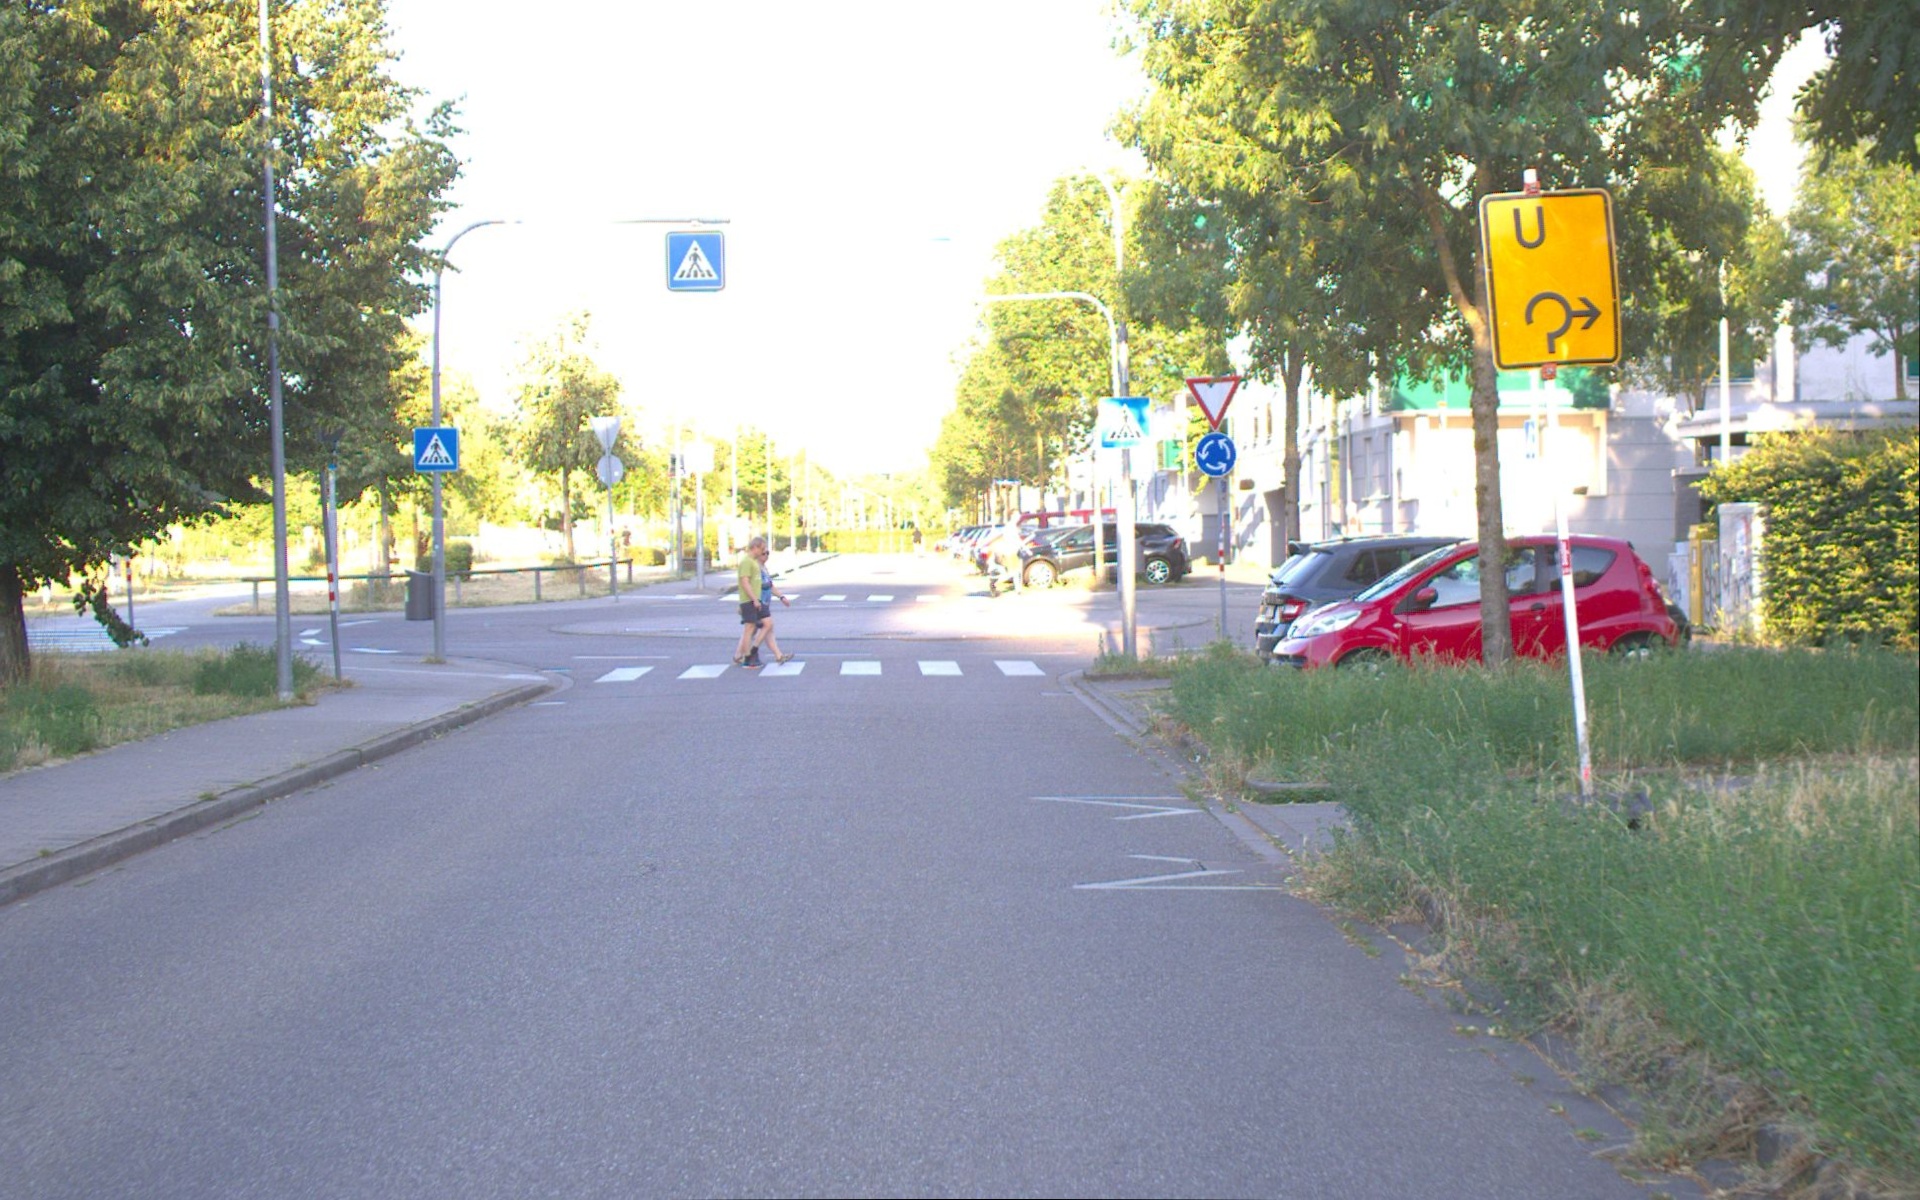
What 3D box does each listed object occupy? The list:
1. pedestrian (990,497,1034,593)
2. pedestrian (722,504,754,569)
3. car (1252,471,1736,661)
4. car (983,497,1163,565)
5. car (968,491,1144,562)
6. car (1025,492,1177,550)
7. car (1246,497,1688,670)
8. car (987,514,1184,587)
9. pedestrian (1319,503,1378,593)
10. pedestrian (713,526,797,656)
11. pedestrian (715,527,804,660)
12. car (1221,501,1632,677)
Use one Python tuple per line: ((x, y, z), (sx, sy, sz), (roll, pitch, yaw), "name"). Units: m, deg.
((1.100, -1.173, 72.687), (0.846, 2.007, 0.943), (-1, 1, 5), "pedestrian")
((-6.871, -1.971, 106.428), (0.866, 2.007, 0.790), (-1, 1, -11), "pedestrian")
((4.504, -0.305, 29.315), (3.802, 1.503, 1.679), (-1, 1, -3), "car")
((2.762, -1.706, 84.939), (4.355, 1.590, 2.000), (-1, 1, 0), "car")
((2.856, -2.207, 102.954), (5.002, 2.038, 2.251), (-1, 1, -5), "car")
((4.085, -2.302, 99.917), (4.263, 1.590, 2.000), (-1, 1, -1), "car")
((4.681, -0.176, 32.048), (3.802, 1.503, 1.679), (-1, 1, -3), "car")
((2.879, -1.160, 79.799), (4.484, 1.590, 2.000), (-1, 1, 0), "car")
((7.746, -1.034, 68.534), (1.003, 1.782, 0.762), (0, 1, -7), "pedestrian")
((-2.704, -0.127, 45.264), (0.983, 1.687, 0.700), (-1, 1, -12), "pedestrian")
((-2.601, -0.094, 44.497), (1.018, 1.687, 0.760), (-1, 1, -12), "pedestrian")
((4.683, -0.133, 34.770), (3.802, 1.503, 1.680), (-2, 5, -5), "car")
